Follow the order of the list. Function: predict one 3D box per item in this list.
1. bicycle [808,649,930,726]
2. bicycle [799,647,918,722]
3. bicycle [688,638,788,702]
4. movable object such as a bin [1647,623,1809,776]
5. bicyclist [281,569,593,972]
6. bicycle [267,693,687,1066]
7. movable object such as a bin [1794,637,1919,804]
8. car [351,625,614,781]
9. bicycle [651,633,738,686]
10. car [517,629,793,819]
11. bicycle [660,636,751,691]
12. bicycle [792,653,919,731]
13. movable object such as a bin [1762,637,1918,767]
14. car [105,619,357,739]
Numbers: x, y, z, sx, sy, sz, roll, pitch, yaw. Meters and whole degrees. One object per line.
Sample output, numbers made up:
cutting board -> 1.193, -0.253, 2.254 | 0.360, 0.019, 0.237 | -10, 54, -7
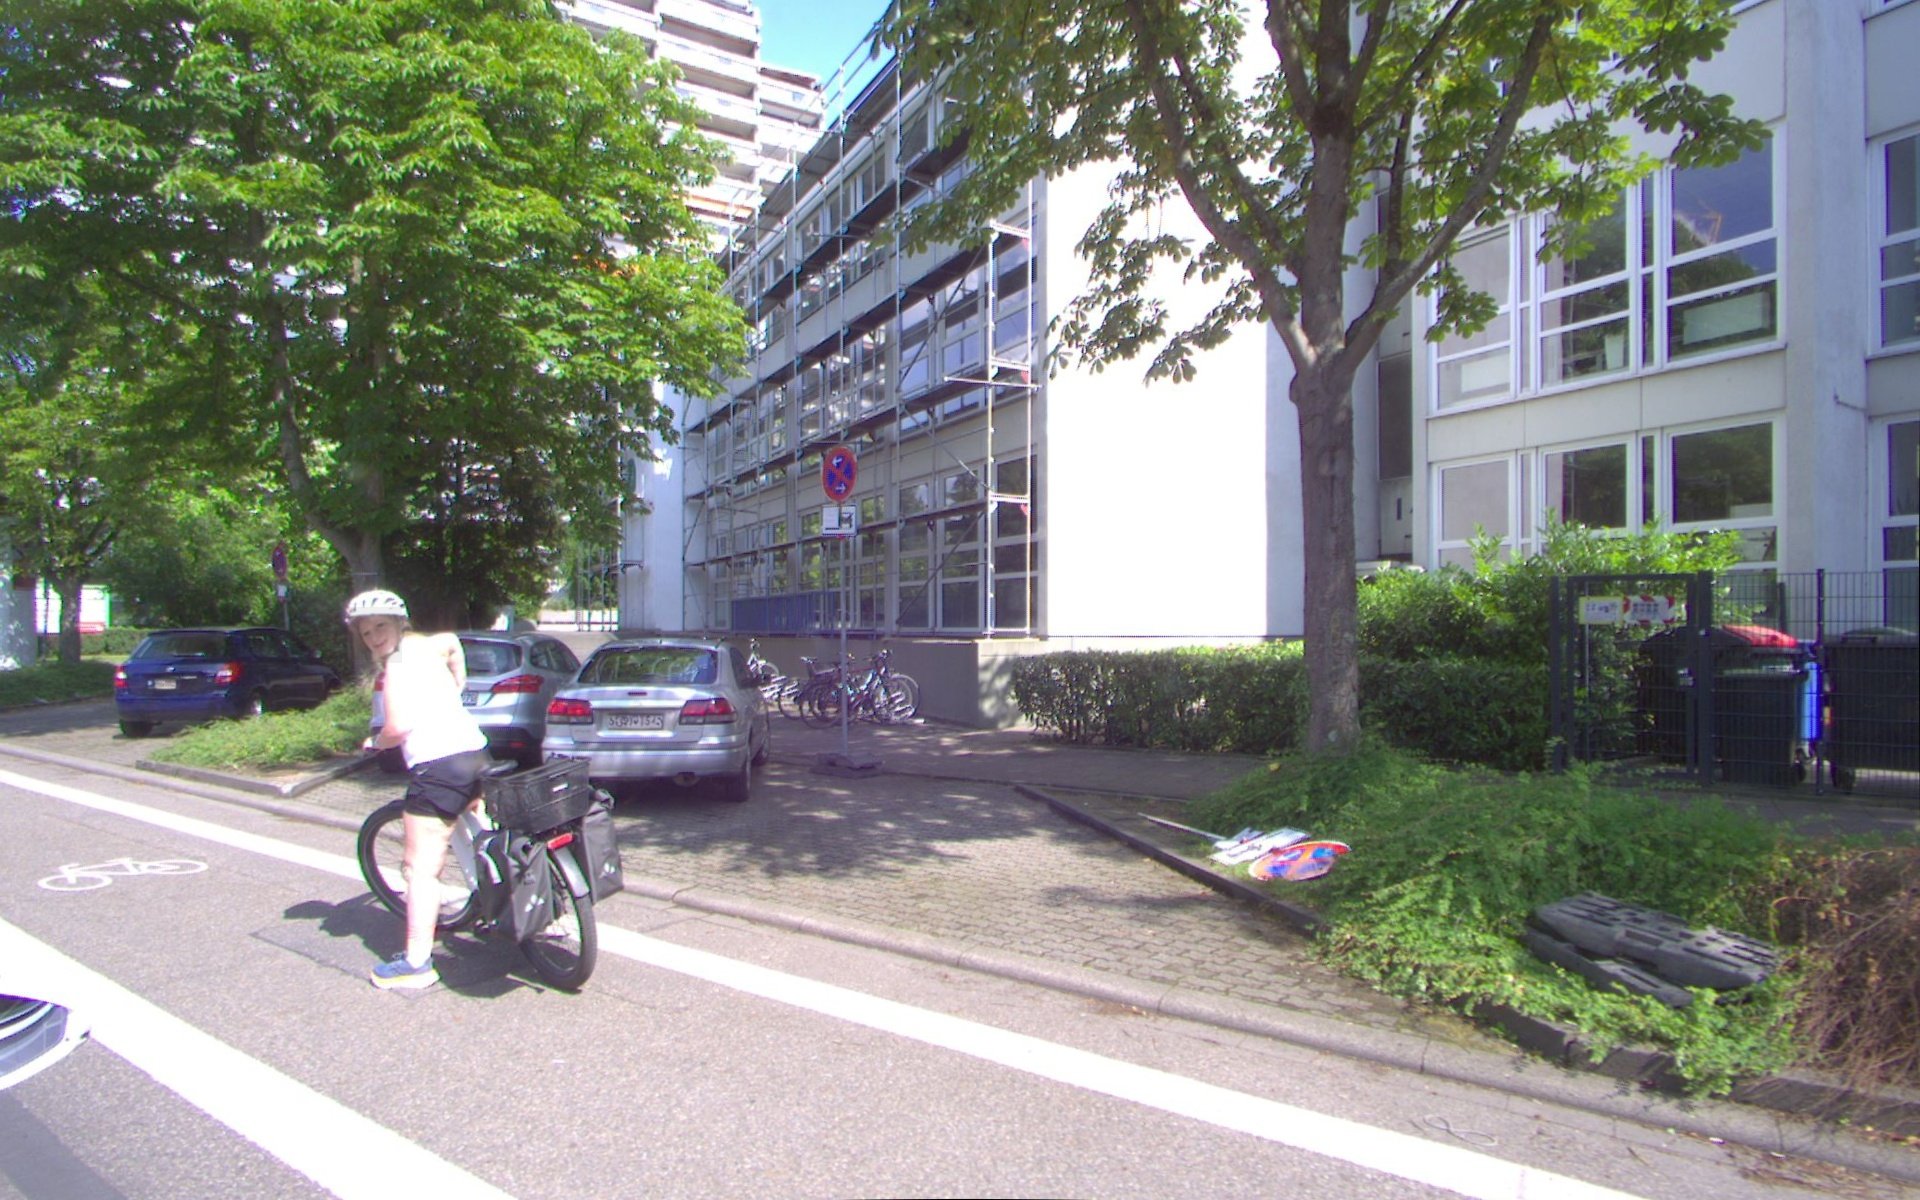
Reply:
bicycle -> -1.420, 1.359, 15.803 | 1.872, 1.110, 0.449 | 0, 1, -26
bicycle -> -1.631, 1.347, 16.255 | 1.872, 1.110, 0.449 | 0, 1, -26
bicycle -> -4.192, 1.312, 18.981 | 1.804, 1.111, 0.449 | 0, 3, -26
movable object such as a bin -> 8.065, 1.007, 10.527 | 1.250, 1.500, 0.933 | 2, -1, -29
bicyclist -> -2.375, 0.686, 4.557 | 1.072, 1.548, 0.886 | -1, -3, 39
bicycle -> -2.209, 1.049, 4.441 | 2.110, 1.140, 0.871 | -1, -2, 40
movable object such as a bin -> 8.115, 1.009, 8.633 | 1.219, 1.352, 1.273 | -1, -3, 32
car -> -5.276, 1.076, 11.622 | 1.621, 1.493, 3.805 | 2, -2, -8
bicycle -> -5.850, 1.286, 22.074 | 1.804, 1.110, 0.449 | 0, 0, -26
car -> -2.722, 1.035, 9.922 | 1.690, 1.438, 4.244 | 1, -1, -4
bicycle -> -5.333, 1.310, 21.004 | 1.804, 1.110, 0.449 | 1, 0, -26
bicycle -> -1.572, 1.379, 15.199 | 1.872, 1.067, 0.449 | 0, 1, -26
movable object such as a bin -> 10.363, 1.148, 11.802 | 1.201, 1.356, 1.252 | -1, 1, -41
car -> -10.823, 1.074, 15.236 | 1.586, 1.505, 3.996 | -1, 0, -12
